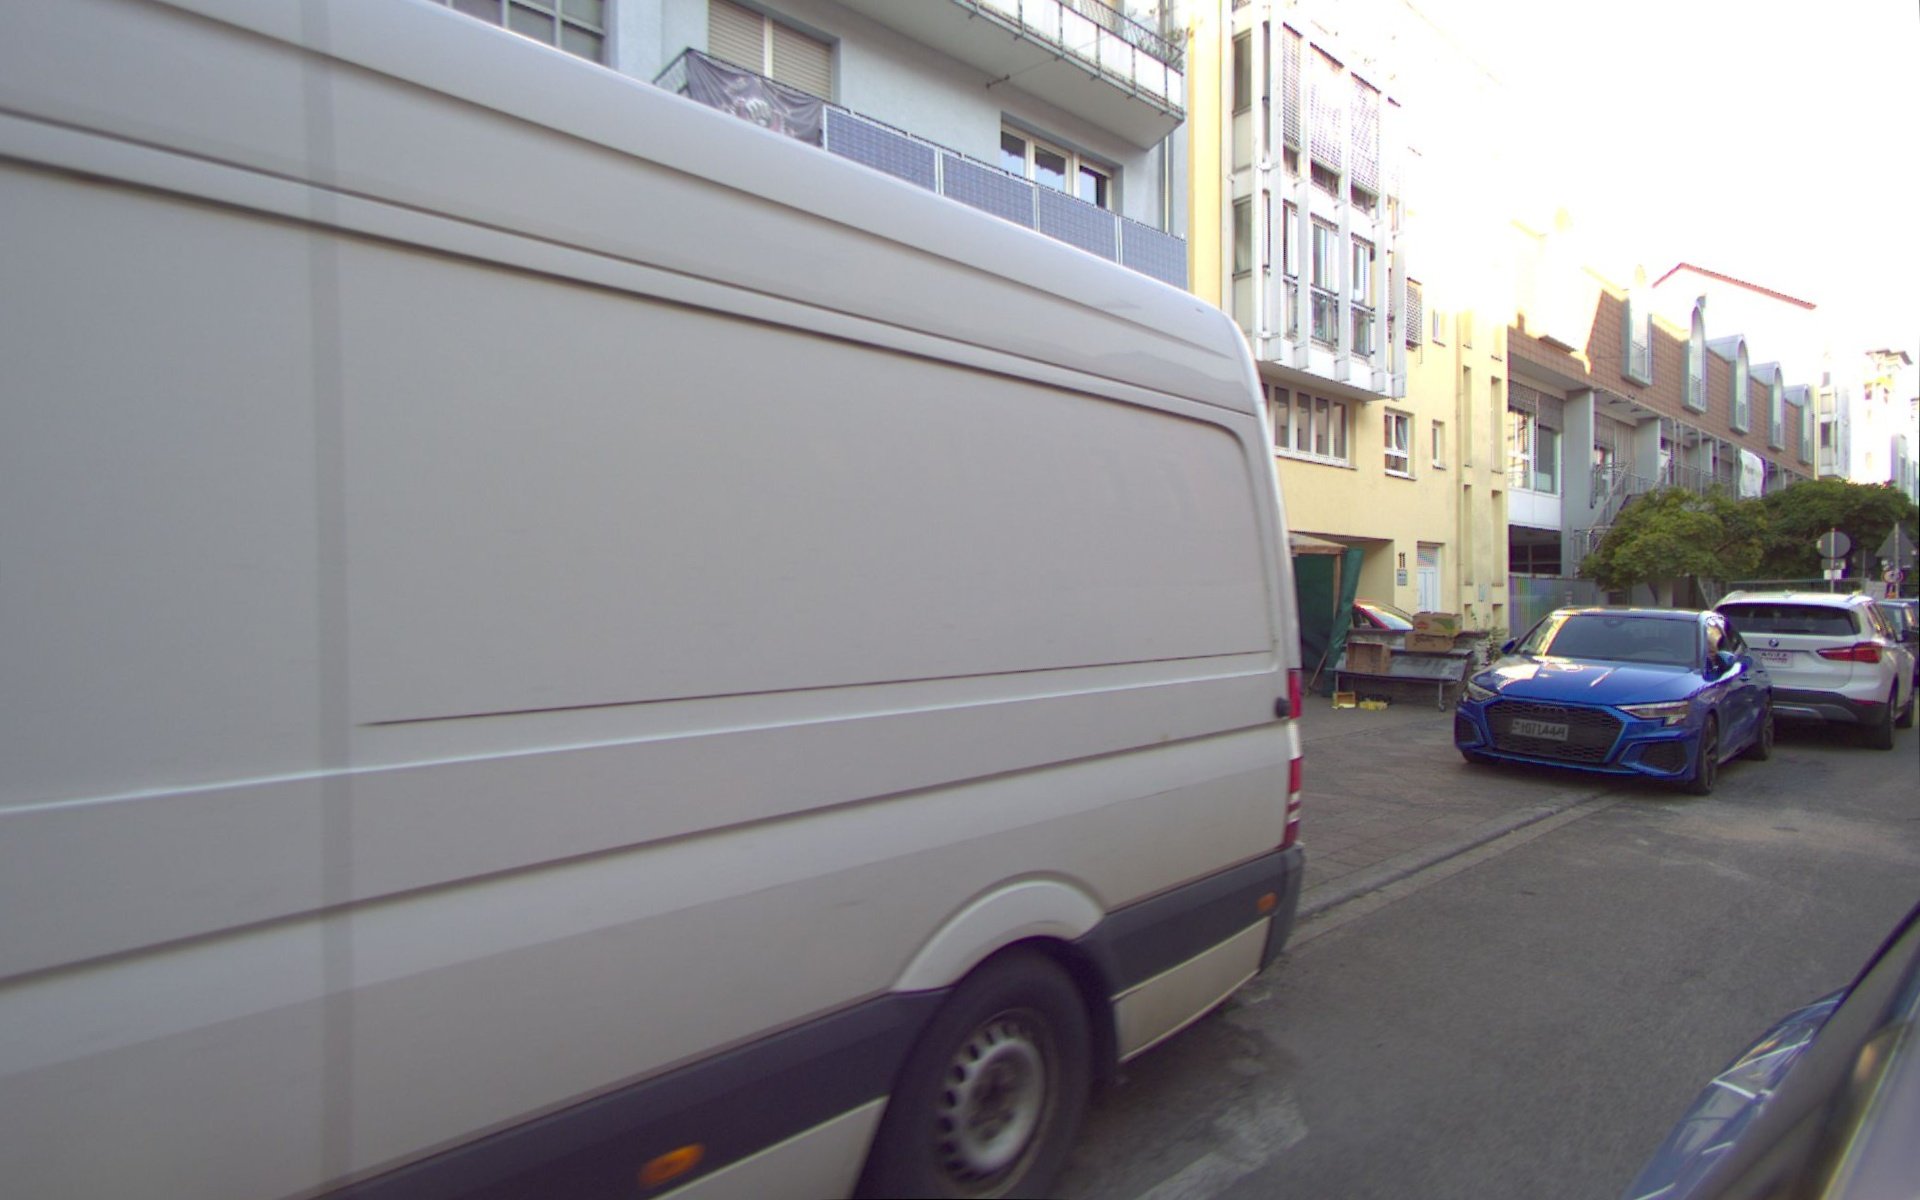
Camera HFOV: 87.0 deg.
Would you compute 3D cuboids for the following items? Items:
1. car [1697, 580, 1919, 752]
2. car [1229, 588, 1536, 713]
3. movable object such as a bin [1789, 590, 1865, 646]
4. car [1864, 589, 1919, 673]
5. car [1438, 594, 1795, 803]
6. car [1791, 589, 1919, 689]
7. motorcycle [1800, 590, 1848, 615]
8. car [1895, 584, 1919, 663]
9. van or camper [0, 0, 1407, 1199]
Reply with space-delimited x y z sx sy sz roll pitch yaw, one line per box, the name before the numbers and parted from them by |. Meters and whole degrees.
car | 10.142 0.600 11.812 4.512 1.632 1.723 -1 0 -44
car | 6.199 0.691 15.175 1.665 1.628 3.900 0 -1 -41
movable object such as a bin | 22.333 0.464 26.093 1.241 1.394 0.795 -2 -1 24
car | 19.493 0.576 20.255 3.629 1.577 1.624 0 -1 -41
car | 6.054 0.673 9.115 4.222 1.405 1.725 0 2 -43
car | 15.850 0.584 17.492 4.052 1.504 1.623 0 2 -41
motorcycle | 44.524 0.127 52.139 2.406 1.238 0.874 -1 1 -23
car | 22.872 0.486 22.993 4.444 1.705 1.752 0 -1 -39
van or camper | -1.829 0.163 1.849 7.385 2.635 2.102 -1 1 -43
